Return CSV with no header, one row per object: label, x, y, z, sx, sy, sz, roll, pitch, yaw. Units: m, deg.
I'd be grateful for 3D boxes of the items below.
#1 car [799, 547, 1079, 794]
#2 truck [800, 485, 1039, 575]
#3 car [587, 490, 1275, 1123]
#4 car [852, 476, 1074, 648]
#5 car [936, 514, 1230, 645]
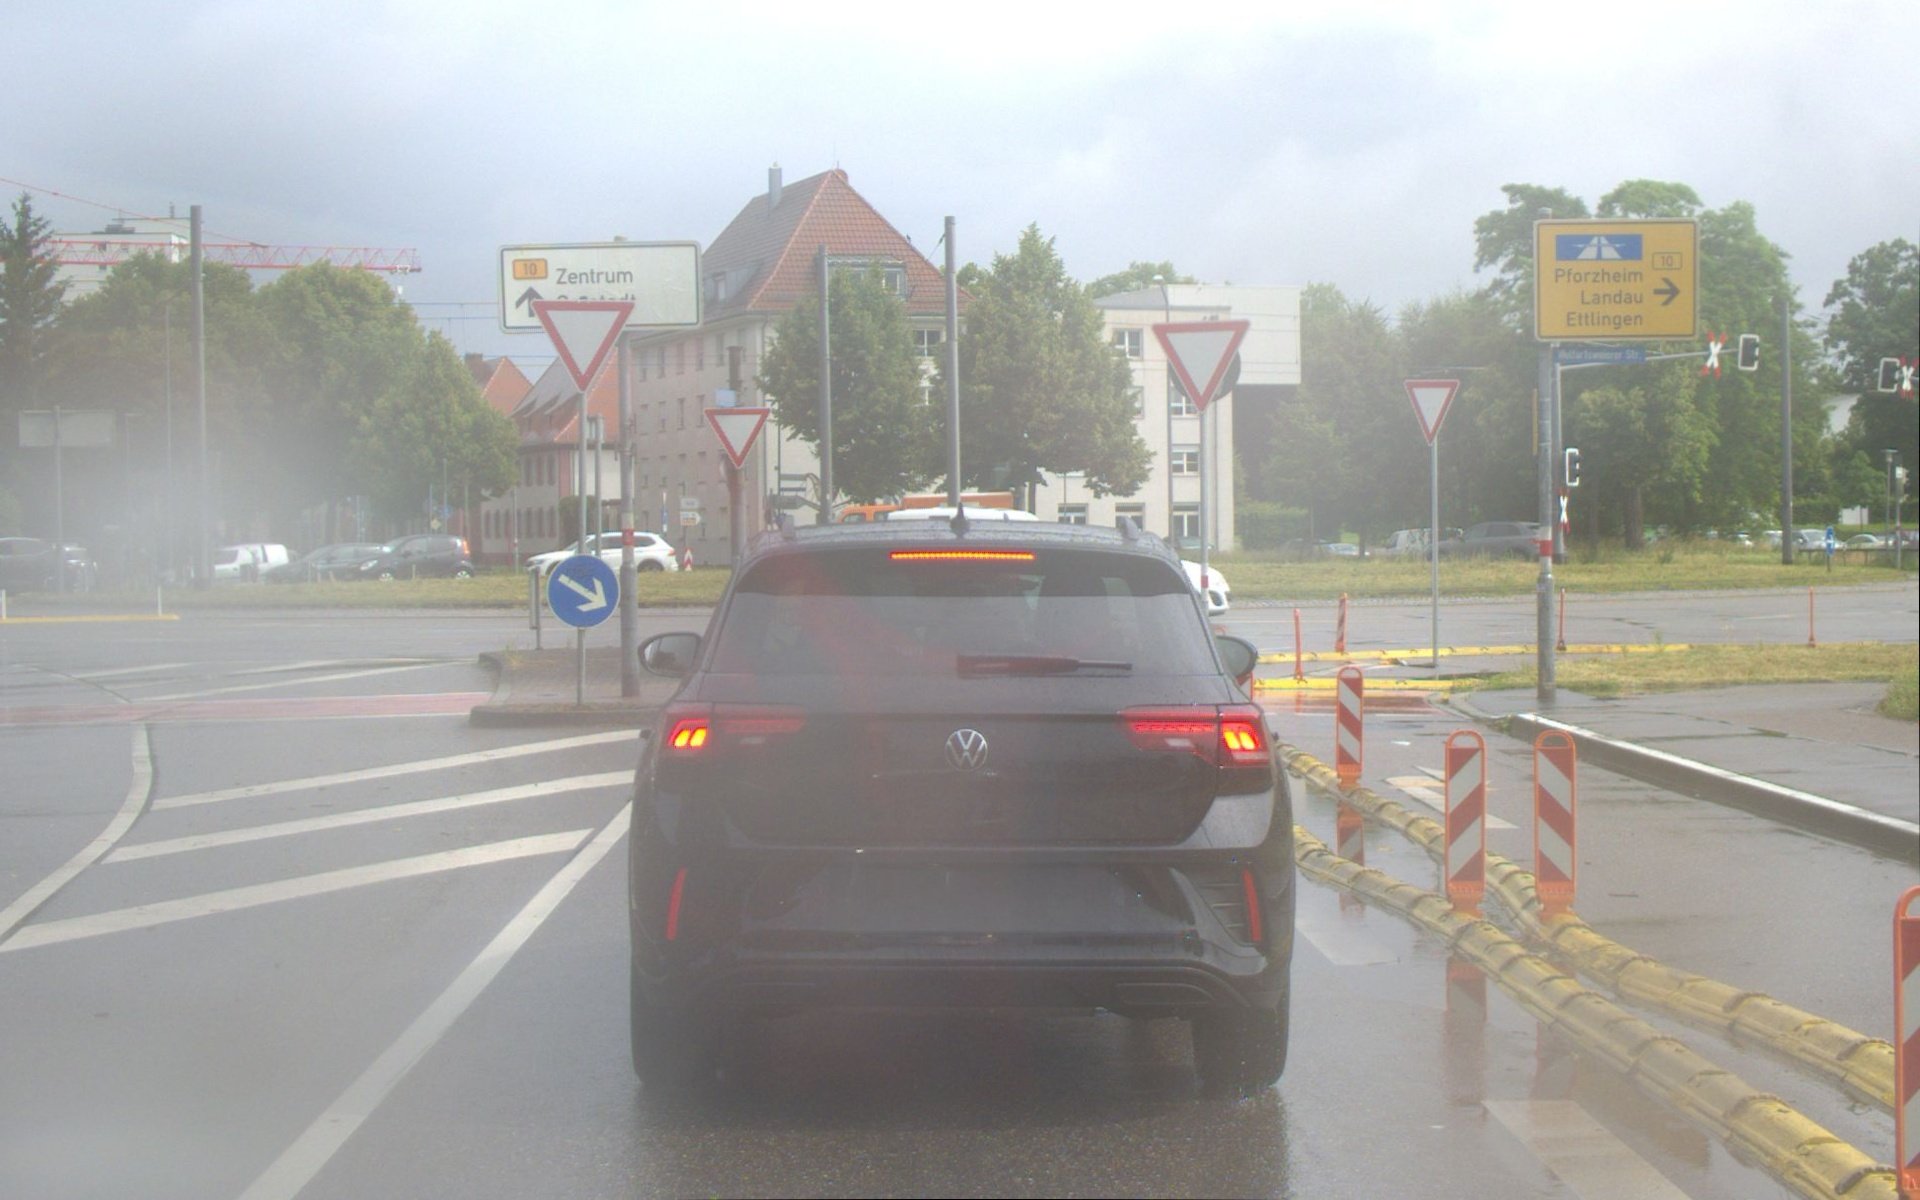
car,-0.215,0.410,23.197,1.735,1.509,3.604,0,1,-3
truck,-1.234,-2.108,103.014,7.065,2.641,2.330,0,1,-2
car,-0.186,0.488,10.407,1.708,1.568,3.683,0,1,-4
car,0.100,-0.445,38.356,1.865,1.803,4.402,0,1,8
car,1.767,-0.310,50.257,3.986,1.824,2.001,-1,1,-8
